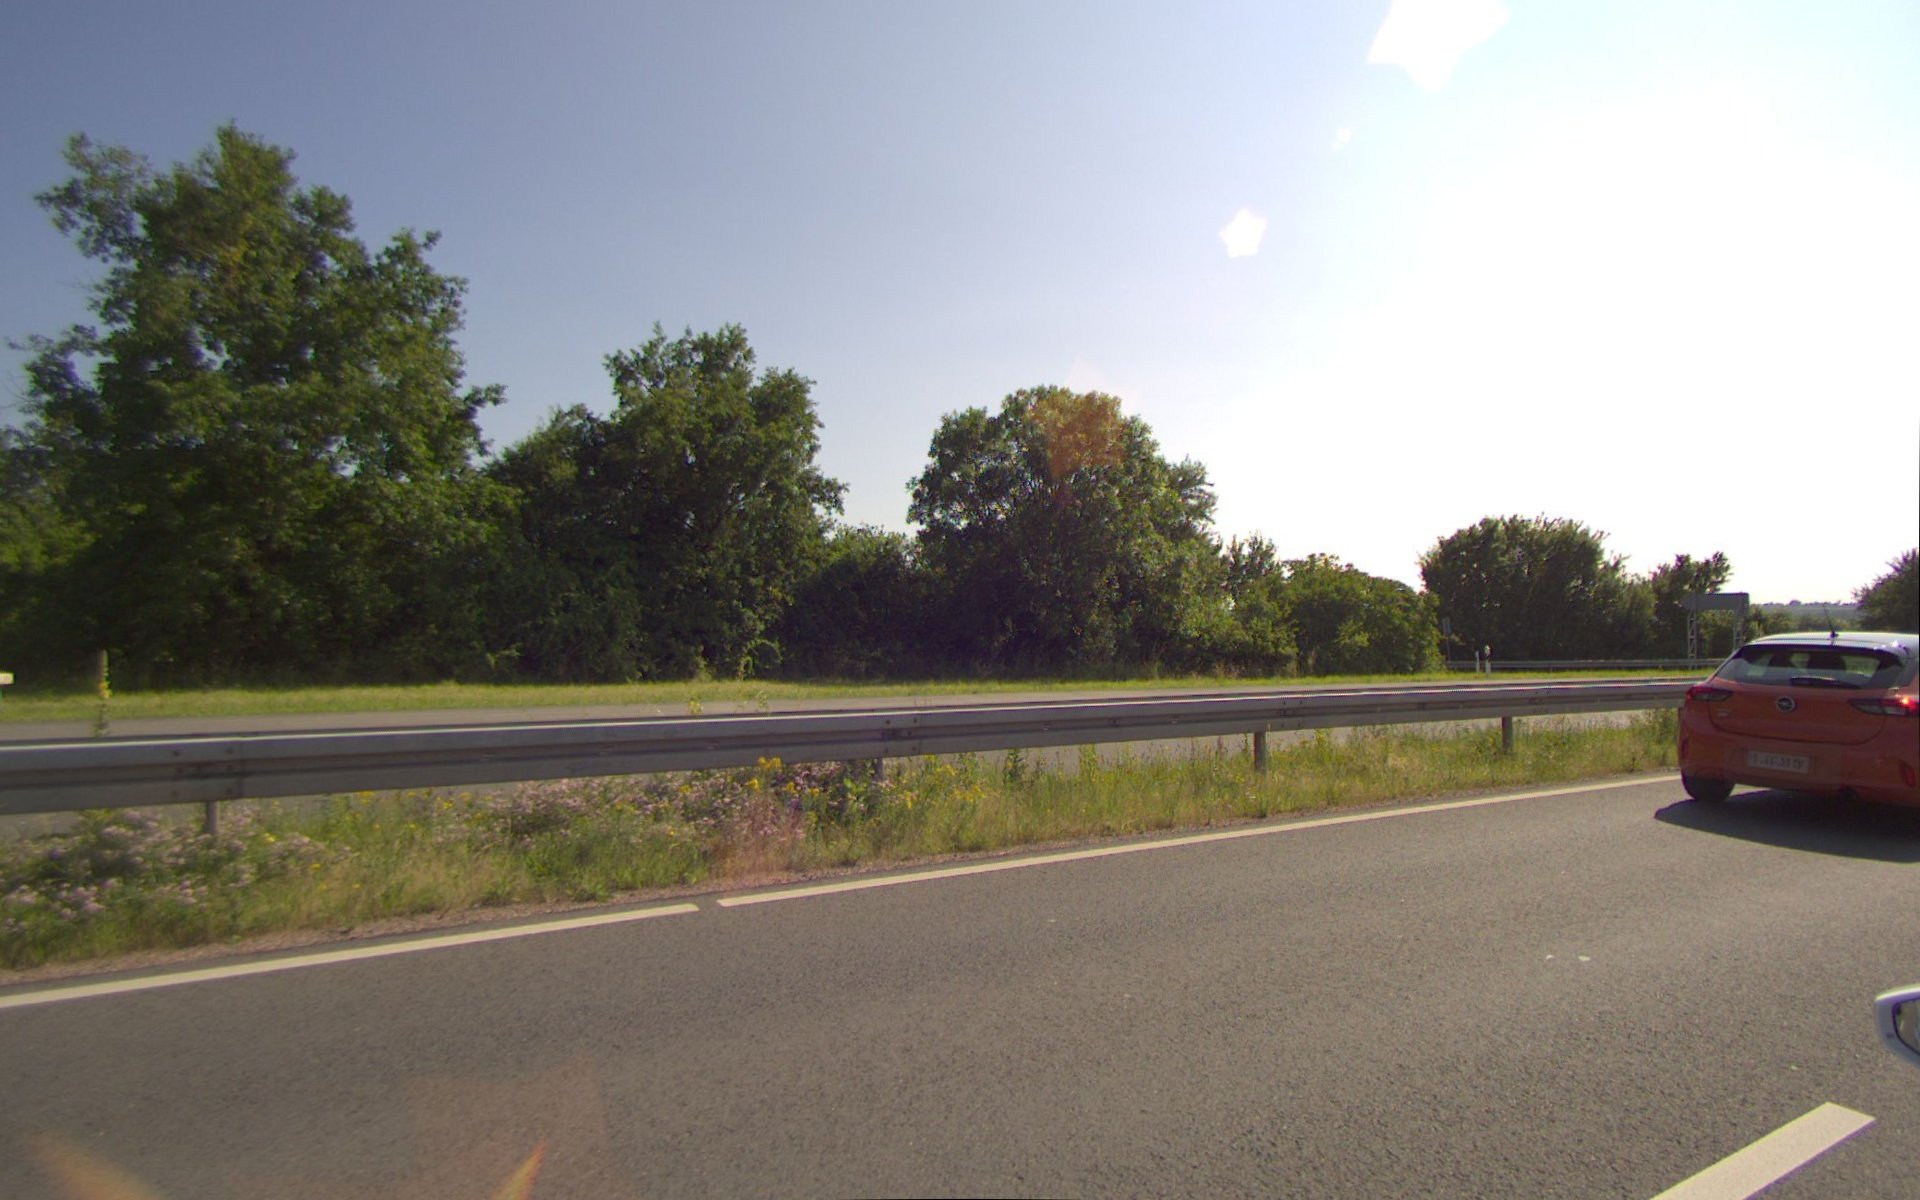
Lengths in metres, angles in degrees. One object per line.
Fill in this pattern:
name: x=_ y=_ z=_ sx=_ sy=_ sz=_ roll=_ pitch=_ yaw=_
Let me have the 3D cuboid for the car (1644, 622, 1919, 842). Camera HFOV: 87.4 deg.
car: x=7.819 y=0.952 z=8.503 sx=4.361 sy=1.456 sz=1.701 roll=2 pitch=-2 yaw=-31
